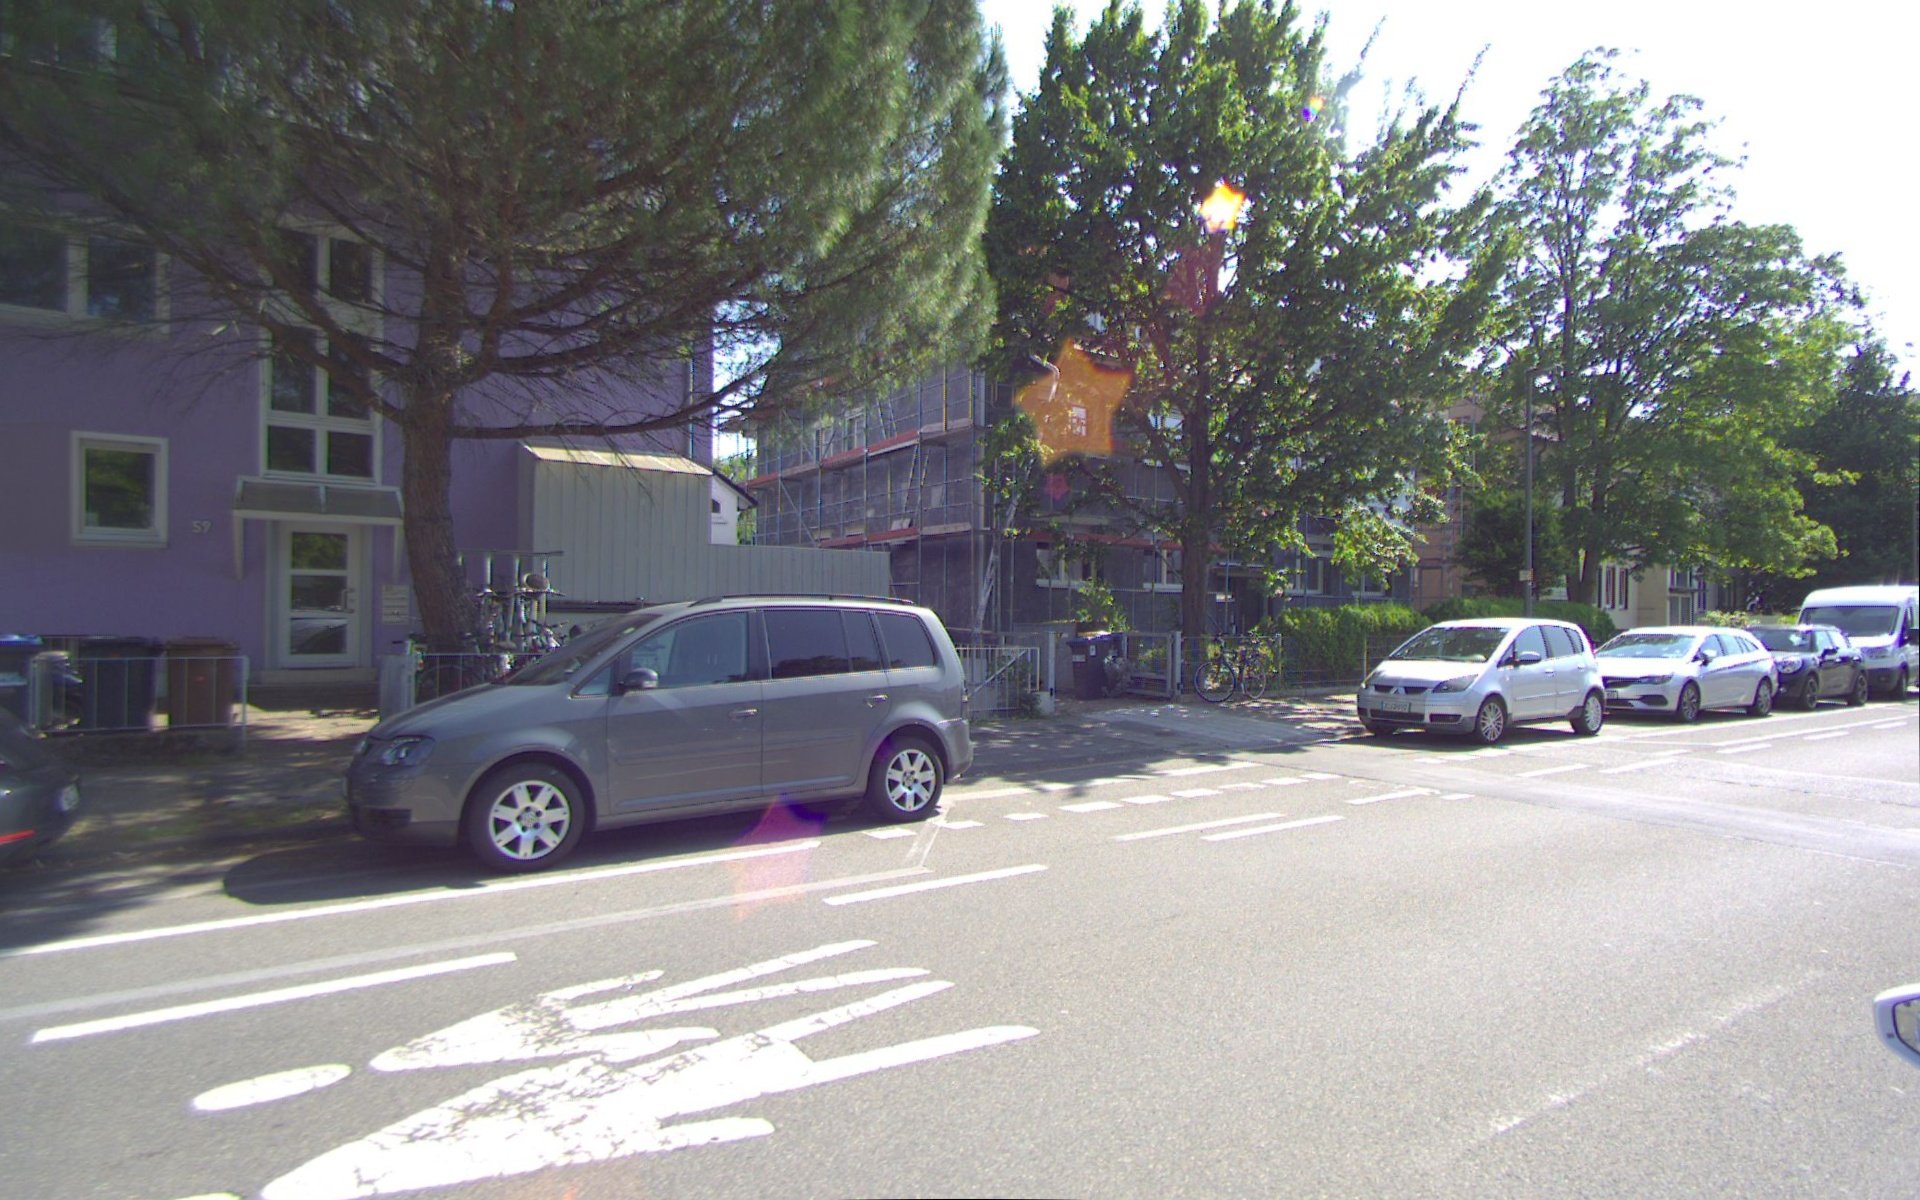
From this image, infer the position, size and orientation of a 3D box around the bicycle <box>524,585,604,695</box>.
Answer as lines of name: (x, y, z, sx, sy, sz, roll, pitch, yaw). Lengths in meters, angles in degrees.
bicycle: (-5.445, 0.527, 13.744, 0.498, 1.401, 2.157, 1, -1, -36)

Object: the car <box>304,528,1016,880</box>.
car: (-1.945, 0.575, 7.153, 4.538, 1.788, 1.829, 1, -1, -34)

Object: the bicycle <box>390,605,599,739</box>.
bicycle: (-4.756, 0.710, 10.333, 1.892, 1.283, 0.455, 2, 0, -32)

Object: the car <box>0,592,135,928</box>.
car: (-6.228, 0.696, 4.159, 4.150, 1.476, 1.830, 1, -2, -34)

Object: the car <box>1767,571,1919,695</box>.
car: (20.806, 0.734, 23.076, 5.895, 2.530, 2.074, 1, -1, -36)

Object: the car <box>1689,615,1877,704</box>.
car: (16.064, 1.089, 19.568, 3.956, 1.579, 1.710, 1, -1, -33)

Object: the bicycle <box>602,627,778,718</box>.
bicycle: (-3.060, 0.800, 11.506, 1.893, 0.967, 0.455, 1, 0, -34)

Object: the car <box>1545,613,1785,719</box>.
car: (11.912, 1.026, 16.880, 4.621, 1.579, 1.710, 1, -1, -33)

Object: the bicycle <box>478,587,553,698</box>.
bicycle: (-6.088, 0.557, 13.703, 0.498, 1.401, 2.157, 1, -1, -36)

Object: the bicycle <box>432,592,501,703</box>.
bicycle: (-6.759, 0.624, 13.707, 0.498, 1.401, 2.157, 1, -1, -36)

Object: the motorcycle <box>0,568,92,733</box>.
motorcycle: (-9.546, 0.461, 9.157, 2.413, 1.527, 0.519, 1, -1, -38)

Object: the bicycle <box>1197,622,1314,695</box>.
bicycle: (4.979, 0.979, 16.875, 2.214, 1.154, 0.510, 2, 0, -31)

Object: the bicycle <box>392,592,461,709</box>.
bicycle: (-6.997, 0.629, 13.131, 0.497, 1.401, 2.157, 1, -1, -36)

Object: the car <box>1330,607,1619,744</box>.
car: (6.928, 0.916, 13.432, 3.956, 1.579, 1.710, 1, -1, -33)

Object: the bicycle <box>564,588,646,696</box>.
bicycle: (-4.997, 0.558, 14.057, 0.498, 1.401, 2.157, 1, -1, -36)
